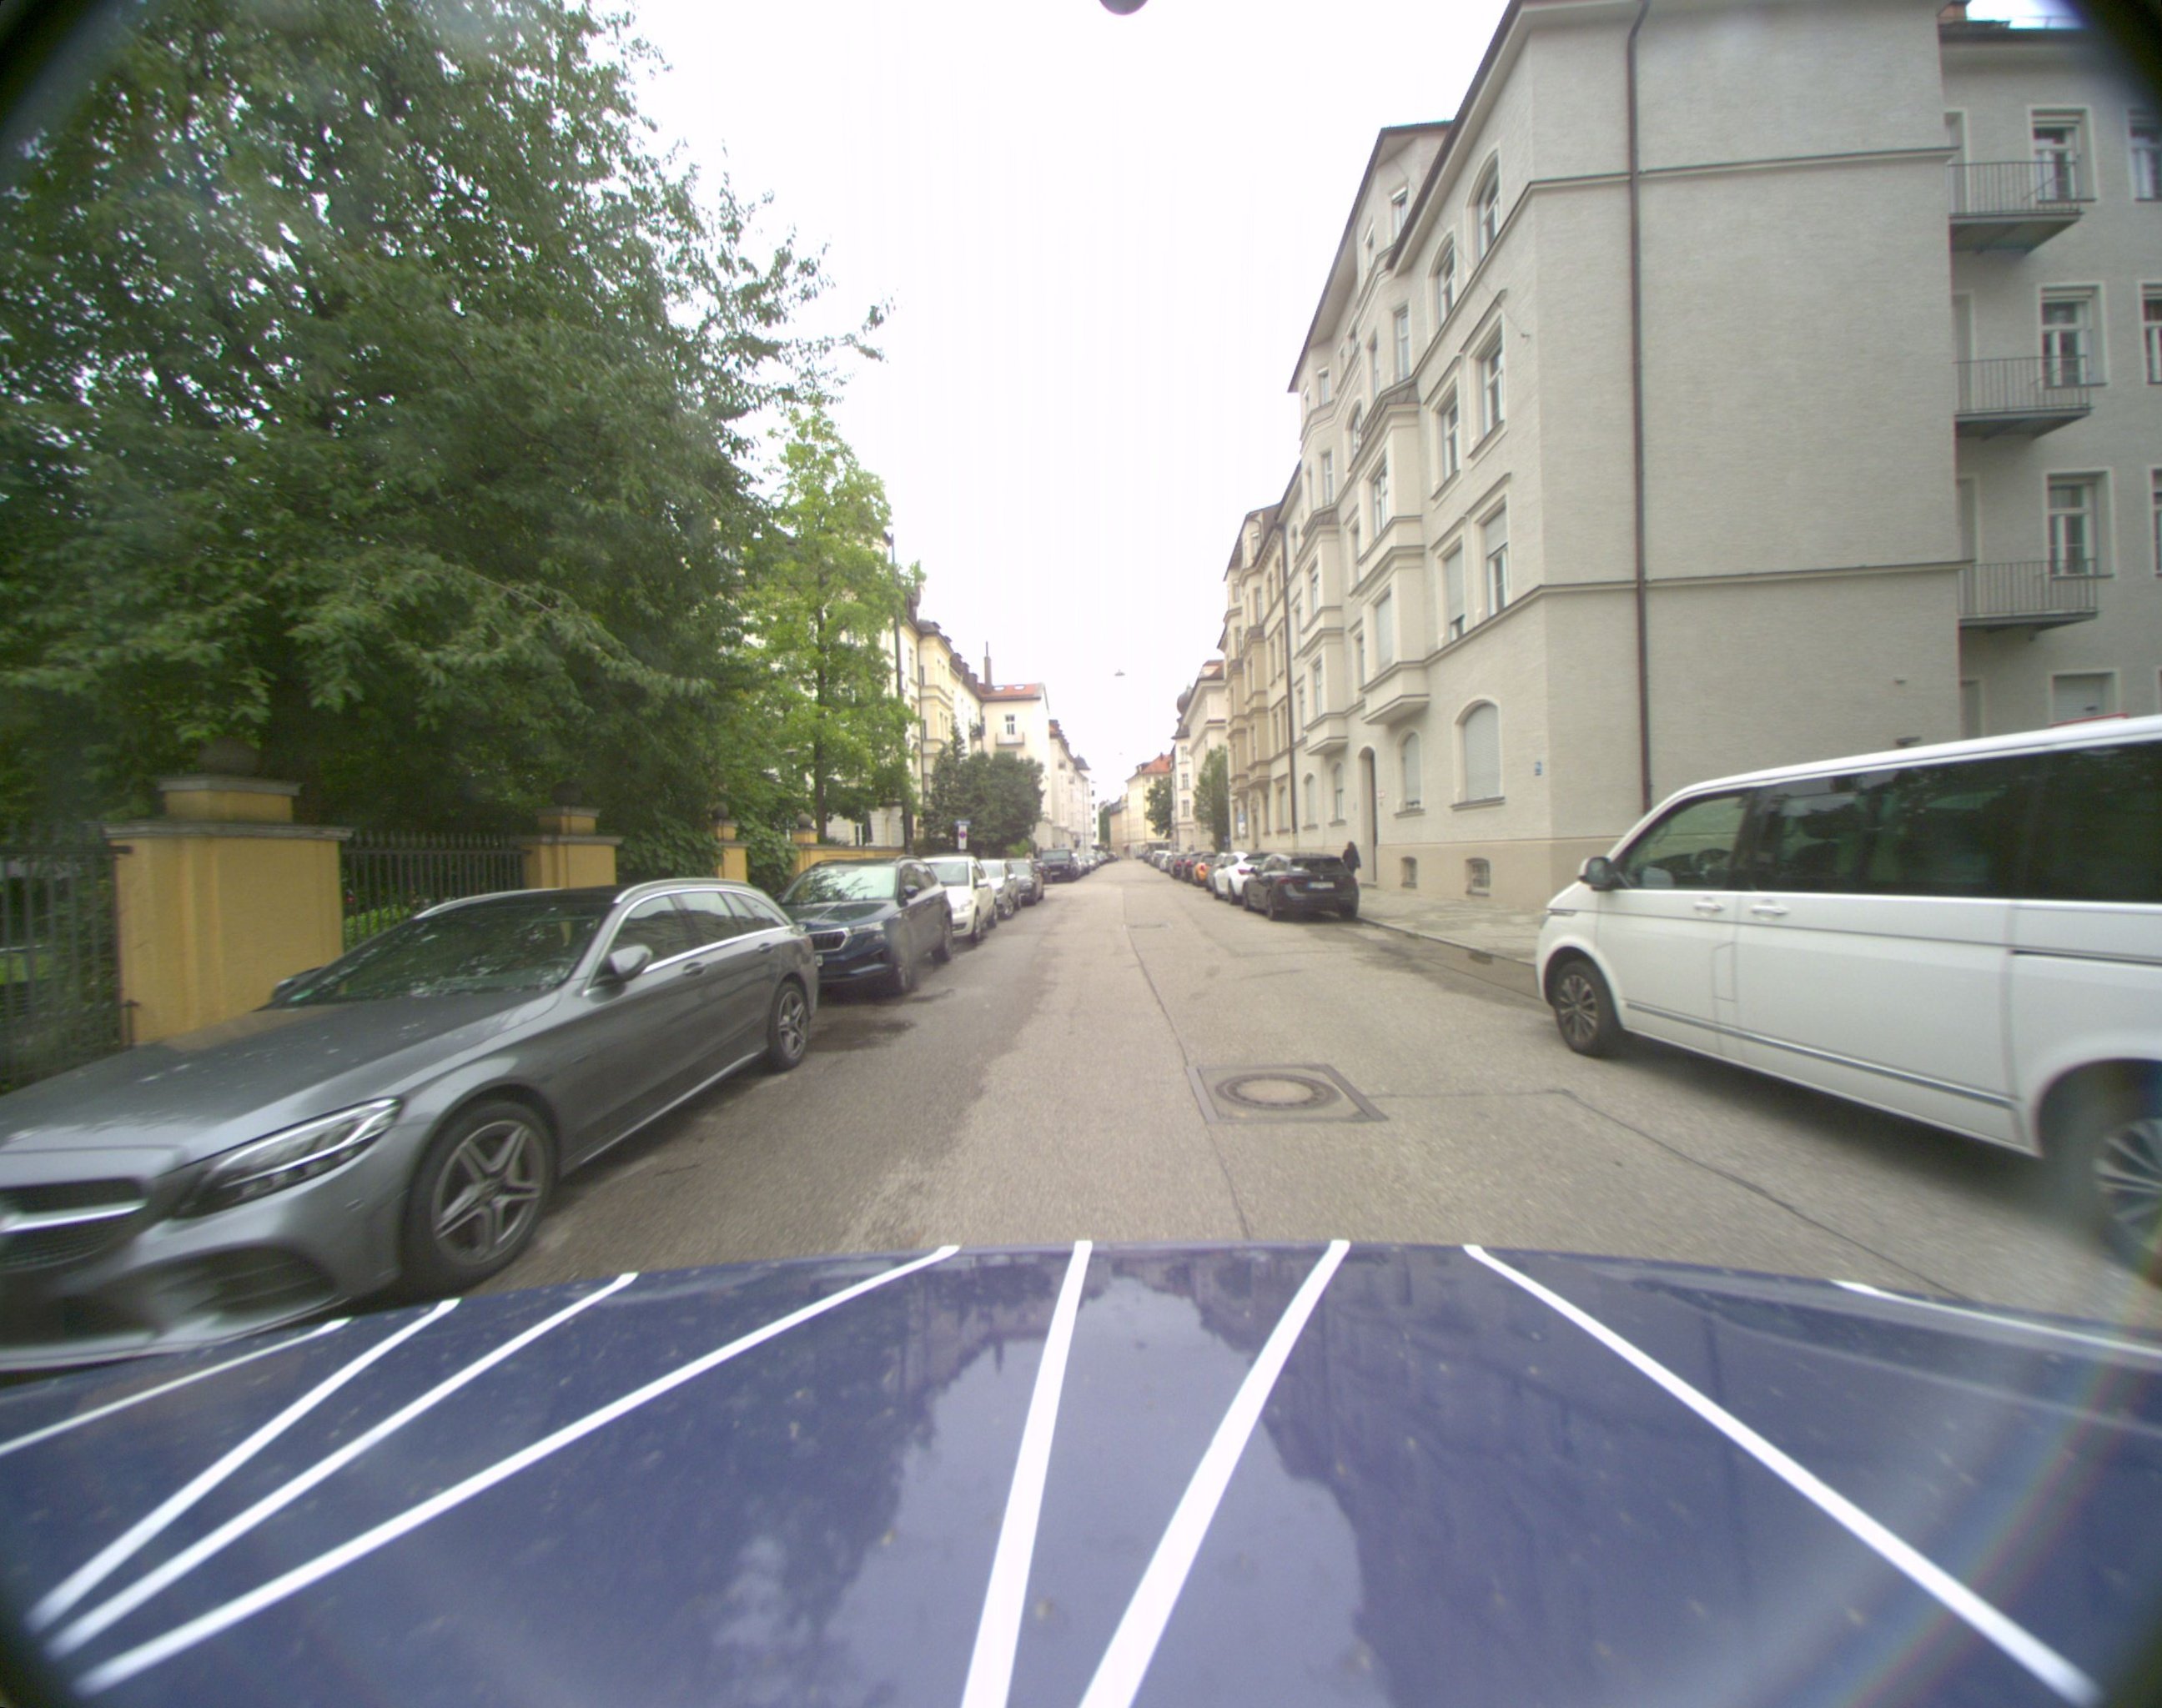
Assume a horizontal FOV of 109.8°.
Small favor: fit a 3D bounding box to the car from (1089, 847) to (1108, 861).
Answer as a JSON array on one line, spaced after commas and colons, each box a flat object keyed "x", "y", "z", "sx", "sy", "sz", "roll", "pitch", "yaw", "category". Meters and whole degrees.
[{"x": 2.169, "y": -0.027, "z": 94.982, "sx": 1.998, "sy": 1.585, "sz": 4.300, "roll": -6, "pitch": 0, "yaw": 5, "category": "car"}]

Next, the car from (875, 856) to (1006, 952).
[{"x": -2.670, "y": 0.882, "z": 15.421, "sx": 1.717, "sy": 1.561, "sz": 4.319, "roll": -2, "pitch": 1, "yaw": 1, "category": "car"}]

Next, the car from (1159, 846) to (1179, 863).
[{"x": 7.886, "y": 0.024, "z": 68.277, "sx": 1.626, "sy": 1.421, "sz": 3.690, "roll": -1, "pitch": 1, "yaw": 4, "category": "car"}]

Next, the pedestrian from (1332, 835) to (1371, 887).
[{"x": 8.743, "y": 0.215, "z": 24.604, "sx": 0.876, "sy": 1.599, "sz": 1.052, "roll": -3, "pitch": 1, "yaw": 2, "category": "pedestrian"}]

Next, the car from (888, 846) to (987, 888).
[{"x": -7.229, "y": 0.671, "z": 38.546, "sx": 4.677, "sy": 1.860, "sz": 1.742, "roll": -2, "pitch": -2, "yaw": -3, "category": "car"}]

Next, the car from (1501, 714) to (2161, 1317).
[{"x": 4.378, "y": 0.483, "z": 3.764, "sx": 1.860, "sy": 1.927, "sz": 4.957, "roll": -1, "pitch": 1, "yaw": 0, "category": "car"}]

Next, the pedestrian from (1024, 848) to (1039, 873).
[{"x": -3.414, "y": 0.458, "z": 52.260, "sx": 0.876, "sy": 1.680, "sz": 1.052, "roll": -3, "pitch": 1, "yaw": 2, "category": "pedestrian"}]

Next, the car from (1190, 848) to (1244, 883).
[{"x": 5.780, "y": 0.453, "z": 32.599, "sx": 1.809, "sy": 1.355, "sz": 3.730, "roll": -1, "pitch": 1, "yaw": 3, "category": "car"}]

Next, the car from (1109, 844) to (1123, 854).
[{"x": 6.459, "y": -0.871, "z": 139.449, "sx": 1.997, "sy": 1.585, "sz": 4.301, "roll": -6, "pitch": 0, "yaw": 9, "category": "car"}]

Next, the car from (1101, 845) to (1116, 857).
[{"x": 4.337, "y": -0.490, "z": 120.363, "sx": 1.998, "sy": 1.672, "sz": 4.300, "roll": -6, "pitch": 0, "yaw": 6, "category": "car"}]

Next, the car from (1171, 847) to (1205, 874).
[{"x": 6.040, "y": 0.327, "z": 43.178, "sx": 1.626, "sy": 1.421, "sz": 3.942, "roll": -1, "pitch": 1, "yaw": 4, "category": "car"}]

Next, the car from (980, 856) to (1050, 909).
[{"x": -2.074, "y": 0.853, "z": 25.069, "sx": 1.717, "sy": 1.445, "sz": 4.955, "roll": -2, "pitch": 1, "yaw": 1, "category": "car"}]

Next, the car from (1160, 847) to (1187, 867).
[{"x": 7.006, "y": 0.173, "z": 57.780, "sx": 1.627, "sy": 1.421, "sz": 3.689, "roll": -1, "pitch": 1, "yaw": 1, "category": "car"}]

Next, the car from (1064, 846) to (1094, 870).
[{"x": -0.098, "y": 0.298, "z": 57.978, "sx": 1.998, "sy": 1.585, "sz": 4.299, "roll": -6, "pitch": 0, "yaw": 2, "category": "car"}]

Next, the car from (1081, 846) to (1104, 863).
[{"x": 1.299, "y": 0.082, "z": 81.025, "sx": 1.998, "sy": 1.585, "sz": 4.300, "roll": -6, "pitch": 0, "yaw": 5, "category": "car"}]

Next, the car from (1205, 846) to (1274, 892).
[{"x": 5.525, "y": 0.483, "z": 26.889, "sx": 1.809, "sy": 1.455, "sz": 3.938, "roll": -1, "pitch": 1, "yaw": 3, "category": "car"}]

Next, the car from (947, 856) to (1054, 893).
[{"x": -3.605, "y": 0.909, "z": 34.457, "sx": 4.578, "sy": 1.405, "sz": 1.793, "roll": -2, "pitch": 1, "yaw": 1, "category": "car"}]

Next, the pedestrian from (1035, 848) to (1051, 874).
[{"x": -2.607, "y": 0.456, "z": 52.129, "sx": 0.876, "sy": 1.746, "sz": 1.052, "roll": -3, "pitch": 1, "yaw": 2, "category": "pedestrian"}]

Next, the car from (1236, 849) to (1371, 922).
[{"x": 4.876, "y": 0.613, "z": 17.286, "sx": 1.860, "sy": 1.404, "sz": 4.379, "roll": -1, "pitch": 1, "yaw": 1, "category": "car"}]

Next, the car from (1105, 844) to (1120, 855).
[{"x": 5.464, "y": -0.780, "z": 130.623, "sx": 1.997, "sy": 1.585, "sz": 4.301, "roll": -6, "pitch": 0, "yaw": 8, "category": "car"}]

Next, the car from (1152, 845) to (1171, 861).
[{"x": 8.303, "y": -0.145, "z": 78.494, "sx": 1.626, "sy": 1.522, "sz": 3.920, "roll": -1, "pitch": 1, "yaw": 3, "category": "car"}]

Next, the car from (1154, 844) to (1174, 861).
[{"x": 7.957, "y": -0.152, "z": 73.061, "sx": 1.626, "sy": 1.522, "sz": 3.689, "roll": -1, "pitch": 1, "yaw": 3, "category": "car"}]

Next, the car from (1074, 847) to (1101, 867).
[{"x": 0.644, "y": 0.252, "z": 70.169, "sx": 1.998, "sy": 1.585, "sz": 4.300, "roll": -6, "pitch": 0, "yaw": 5, "category": "car"}]

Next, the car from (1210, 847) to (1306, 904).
[{"x": 5.059, "y": 0.542, "z": 22.340, "sx": 1.860, "sy": 1.455, "sz": 4.379, "roll": -1, "pitch": 1, "yaw": 1, "category": "car"}]

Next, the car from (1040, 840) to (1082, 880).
[{"x": -1.073, "y": 0.332, "z": 42.862, "sx": 1.998, "sy": 1.949, "sz": 4.433, "roll": -6, "pitch": 0, "yaw": 1, "category": "car"}]

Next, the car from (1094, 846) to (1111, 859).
[{"x": 3.061, "y": -0.229, "z": 105.678, "sx": 1.998, "sy": 1.585, "sz": 4.300, "roll": -6, "pitch": 0, "yaw": 5, "category": "car"}]

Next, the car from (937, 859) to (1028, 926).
[{"x": -2.474, "y": 0.926, "z": 20.104, "sx": 1.717, "sy": 1.445, "sz": 4.183, "roll": -2, "pitch": 1, "yaw": 1, "category": "car"}]

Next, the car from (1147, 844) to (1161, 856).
[{"x": 9.577, "y": -0.489, "z": 99.634, "sx": 1.626, "sy": 1.522, "sz": 3.920, "roll": -1, "pitch": 1, "yaw": 3, "category": "car"}]

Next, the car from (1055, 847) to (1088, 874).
[{"x": -0.620, "y": 0.441, "z": 53.041, "sx": 1.998, "sy": 1.643, "sz": 4.448, "roll": -6, "pitch": 0, "yaw": 1, "category": "car"}]

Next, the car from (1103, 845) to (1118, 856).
[{"x": 4.849, "y": -0.563, "z": 125.779, "sx": 1.998, "sy": 1.585, "sz": 4.429, "roll": -6, "pitch": 0, "yaw": 6, "category": "car"}]

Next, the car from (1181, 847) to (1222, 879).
[{"x": 5.905, "y": 0.392, "z": 37.524, "sx": 1.626, "sy": 1.448, "sz": 3.941, "roll": -1, "pitch": 1, "yaw": 4, "category": "car"}]

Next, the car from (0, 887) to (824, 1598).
[{"x": -3.073, "y": 1.037, "z": 4.035, "sx": 1.696, "sy": 1.406, "sz": 4.515, "roll": -2, "pitch": 1, "yaw": 2, "category": "car"}]

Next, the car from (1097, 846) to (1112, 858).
[{"x": 3.613, "y": -0.372, "z": 115.261, "sx": 1.998, "sy": 1.585, "sz": 4.300, "roll": -6, "pitch": 0, "yaw": 5, "category": "car"}]

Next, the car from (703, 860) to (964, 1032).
[{"x": -2.817, "y": 0.936, "z": 9.895, "sx": 1.717, "sy": 1.561, "sz": 4.691, "roll": -2, "pitch": 1, "yaw": 1, "category": "car"}]
